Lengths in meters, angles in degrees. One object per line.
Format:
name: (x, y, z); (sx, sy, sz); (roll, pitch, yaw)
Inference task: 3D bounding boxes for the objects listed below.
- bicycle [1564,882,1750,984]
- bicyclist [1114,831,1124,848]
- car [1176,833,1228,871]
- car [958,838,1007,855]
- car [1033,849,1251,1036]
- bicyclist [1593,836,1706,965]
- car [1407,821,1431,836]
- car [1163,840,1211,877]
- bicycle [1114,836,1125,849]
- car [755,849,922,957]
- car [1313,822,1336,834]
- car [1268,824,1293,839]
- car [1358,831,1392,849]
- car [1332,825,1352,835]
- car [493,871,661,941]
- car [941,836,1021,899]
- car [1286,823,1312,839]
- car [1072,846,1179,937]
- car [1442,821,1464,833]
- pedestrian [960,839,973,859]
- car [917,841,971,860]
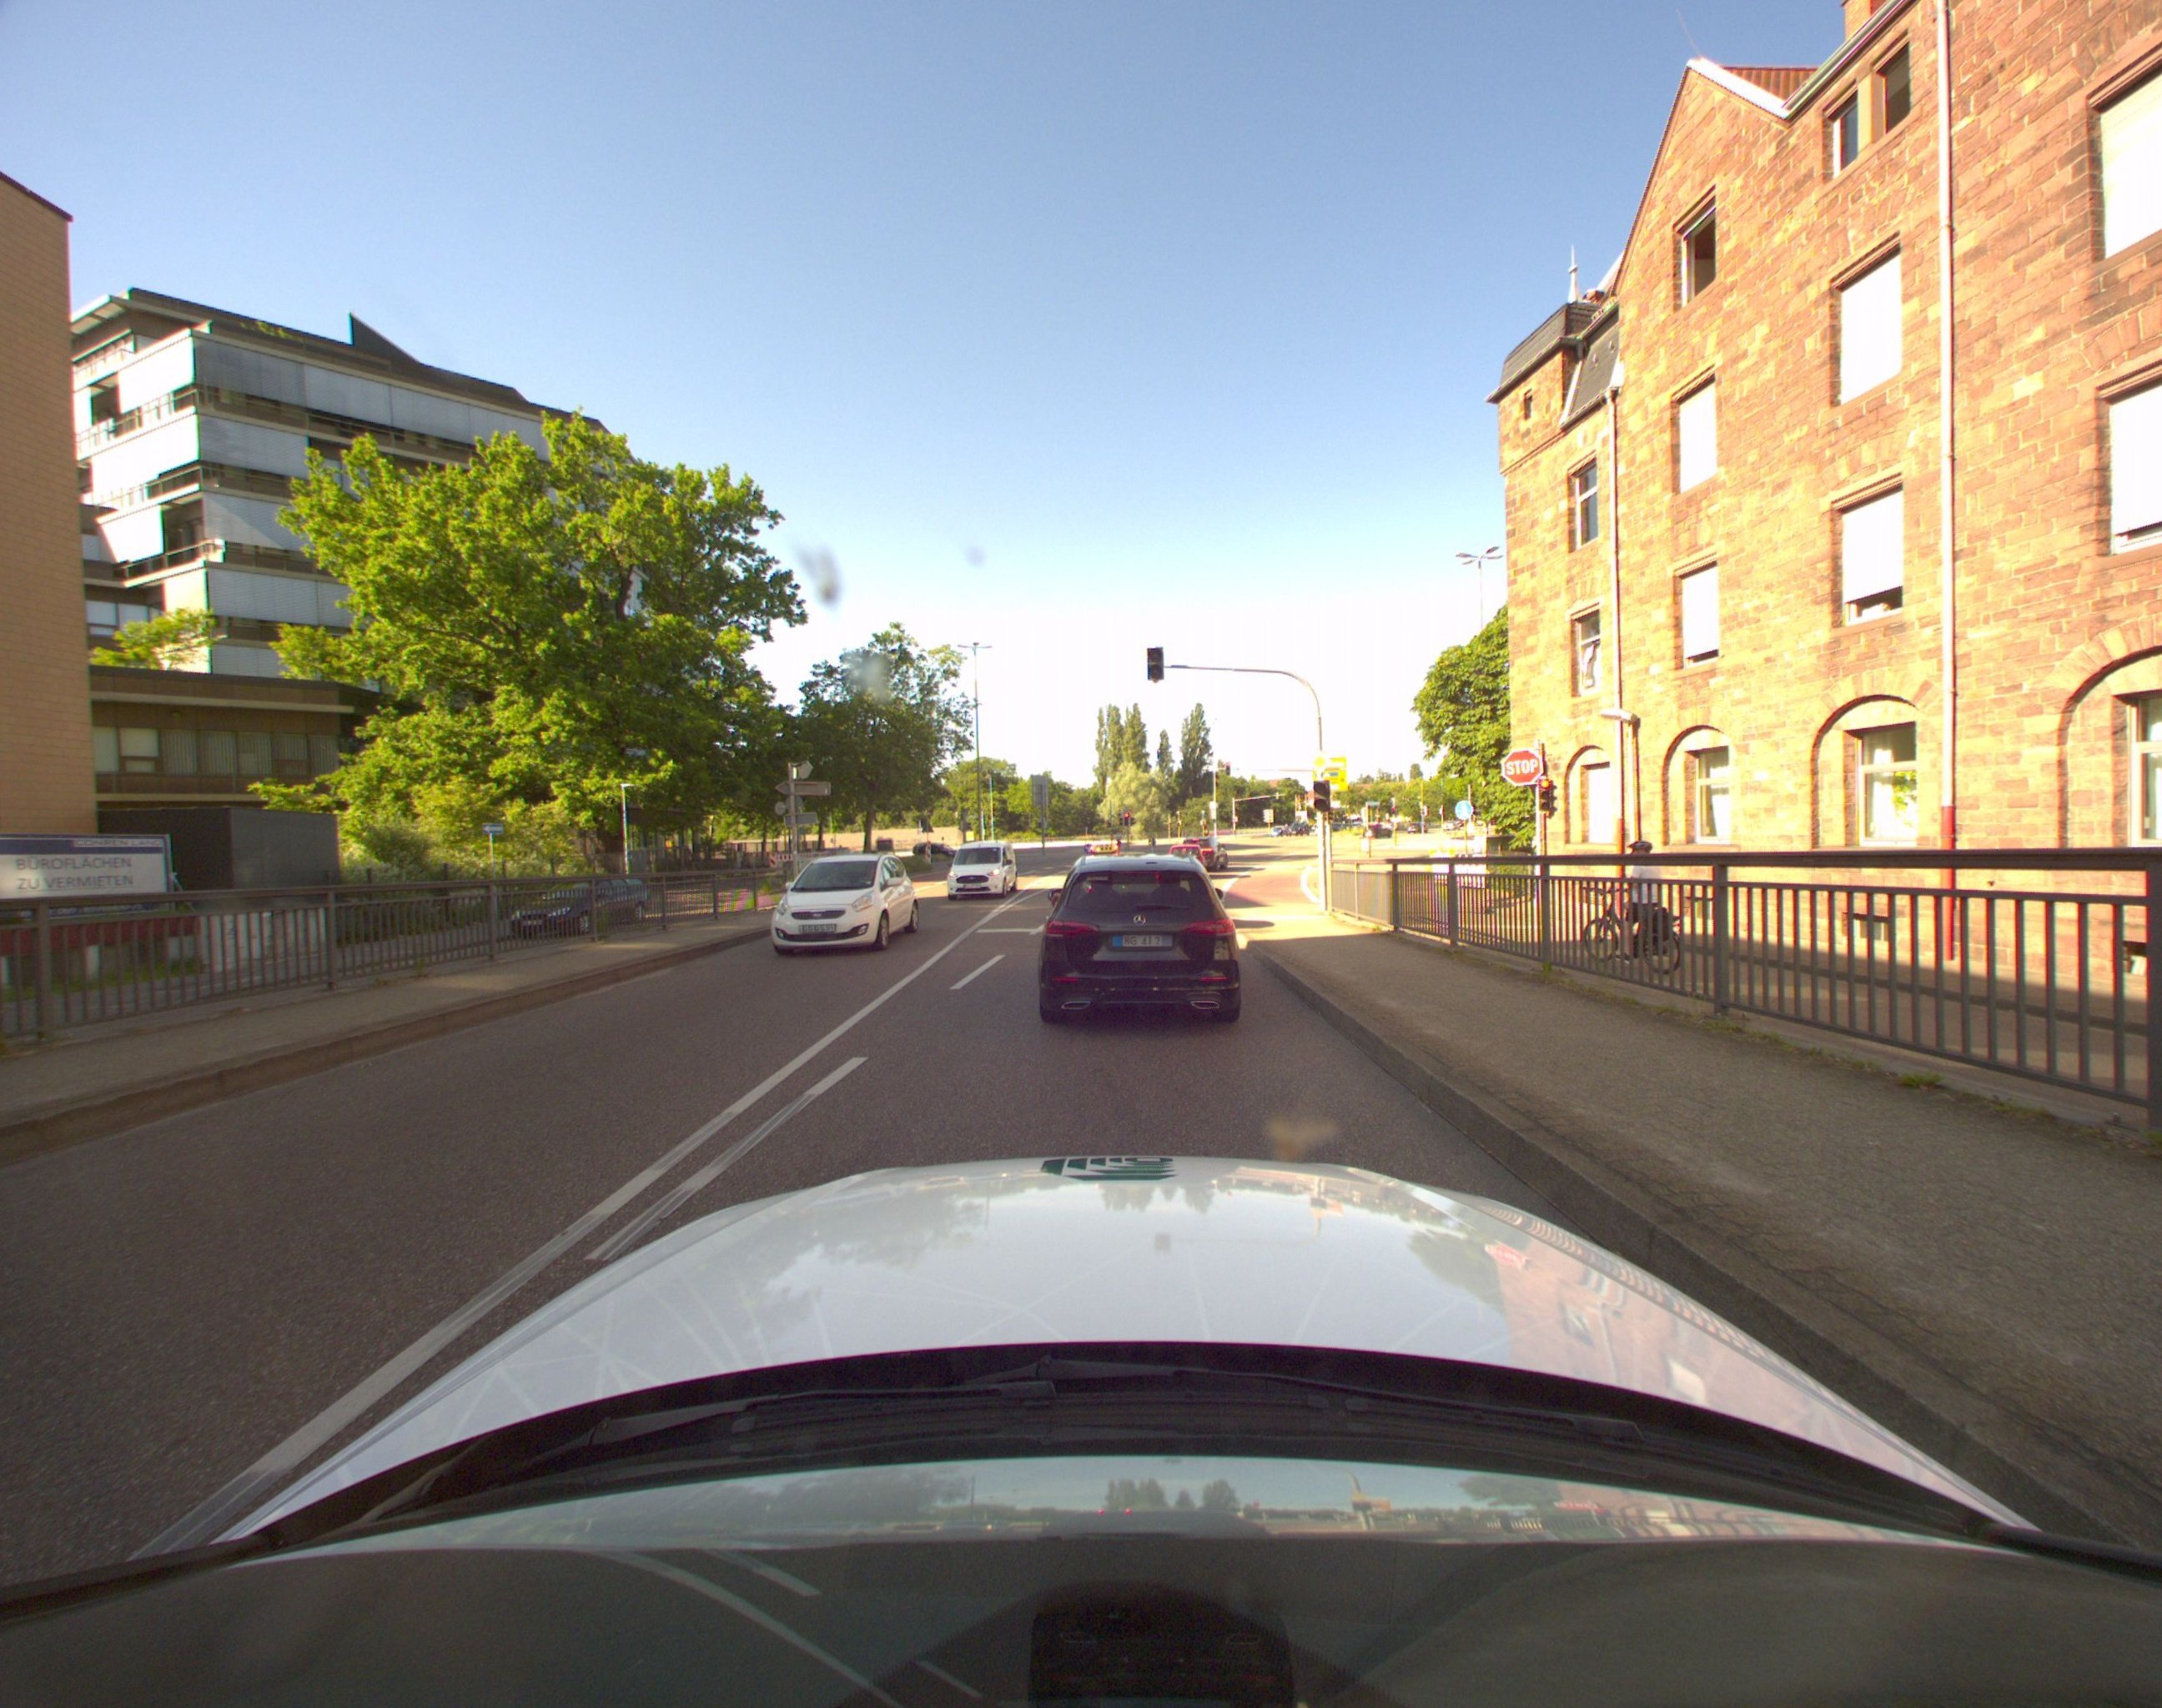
bicycle: (7.965, 1.037, 11.453); (0.798, 1.110, 2.399); (-1, 2, -4)
bicyclist: (3.925, -1.534, 83.834); (0.682, 1.701, 1.202); (-2, 2, 12)
car: (6.252, -0.142, 41.596); (1.853, 1.789, 4.436); (0, 2, 19)
car: (-9.520, -0.730, 78.832); (4.394, 1.438, 1.837); (-1, 2, 28)
car: (0.557, 0.726, 8.627); (1.744, 1.494, 4.001); (-1, 0, 2)
bicyclist: (7.955, 0.614, 11.450); (0.798, 1.705, 1.084); (-1, 1, -4)
car: (43.520, -3.281, 104.904); (1.974, 1.793, 4.026); (-2, 1, 35)
car: (4.776, 0.170, 36.166); (1.808, 1.479, 4.013); (1, 2, 11)
bicycle: (3.972, -1.196, 83.984); (0.682, 1.202, 2.335); (-2, 2, 13)
car: (-4.118, 0.742, 14.542); (1.815, 1.603, 3.998); (-1, 0, -1)
car: (33.184, -3.538, 110.926); (1.802, 1.582, 4.130); (-1, 2, 33)
car: (28.397, -3.221, 115.803); (1.974, 1.864, 4.883); (-1, 2, 33)
car: (32.505, -1.521, 89.978); (4.023, 1.794, 1.975); (0, -1, -45)
car: (39.647, -3.618, 123.575); (1.974, 1.453, 4.025); (0, 0, 33)
car: (-14.050, 1.386, 23.092); (1.813, 1.503, 4.453); (-2, 1, 2)
car: (-3.198, 0.360, 27.051); (1.803, 1.801, 5.123); (-2, 1, 2)
car: (30.010, -3.181, 111.815); (1.974, 1.935, 4.883); (-1, 2, 33)
car: (0.892, 0.642, 16.347); (1.812, 1.489, 4.004); (-2, 1, 3)
car: (54.146, -3.919, 118.498); (1.974, 1.639, 4.026); (-1, 2, 38)
pedestrian: (-9.126, -0.407, 64.947); (0.683, 1.538, 1.369); (-1, -3, 7)
car: (-11.622, -0.313, 69.087); (4.393, 1.438, 1.838); (-1, 2, 32)
